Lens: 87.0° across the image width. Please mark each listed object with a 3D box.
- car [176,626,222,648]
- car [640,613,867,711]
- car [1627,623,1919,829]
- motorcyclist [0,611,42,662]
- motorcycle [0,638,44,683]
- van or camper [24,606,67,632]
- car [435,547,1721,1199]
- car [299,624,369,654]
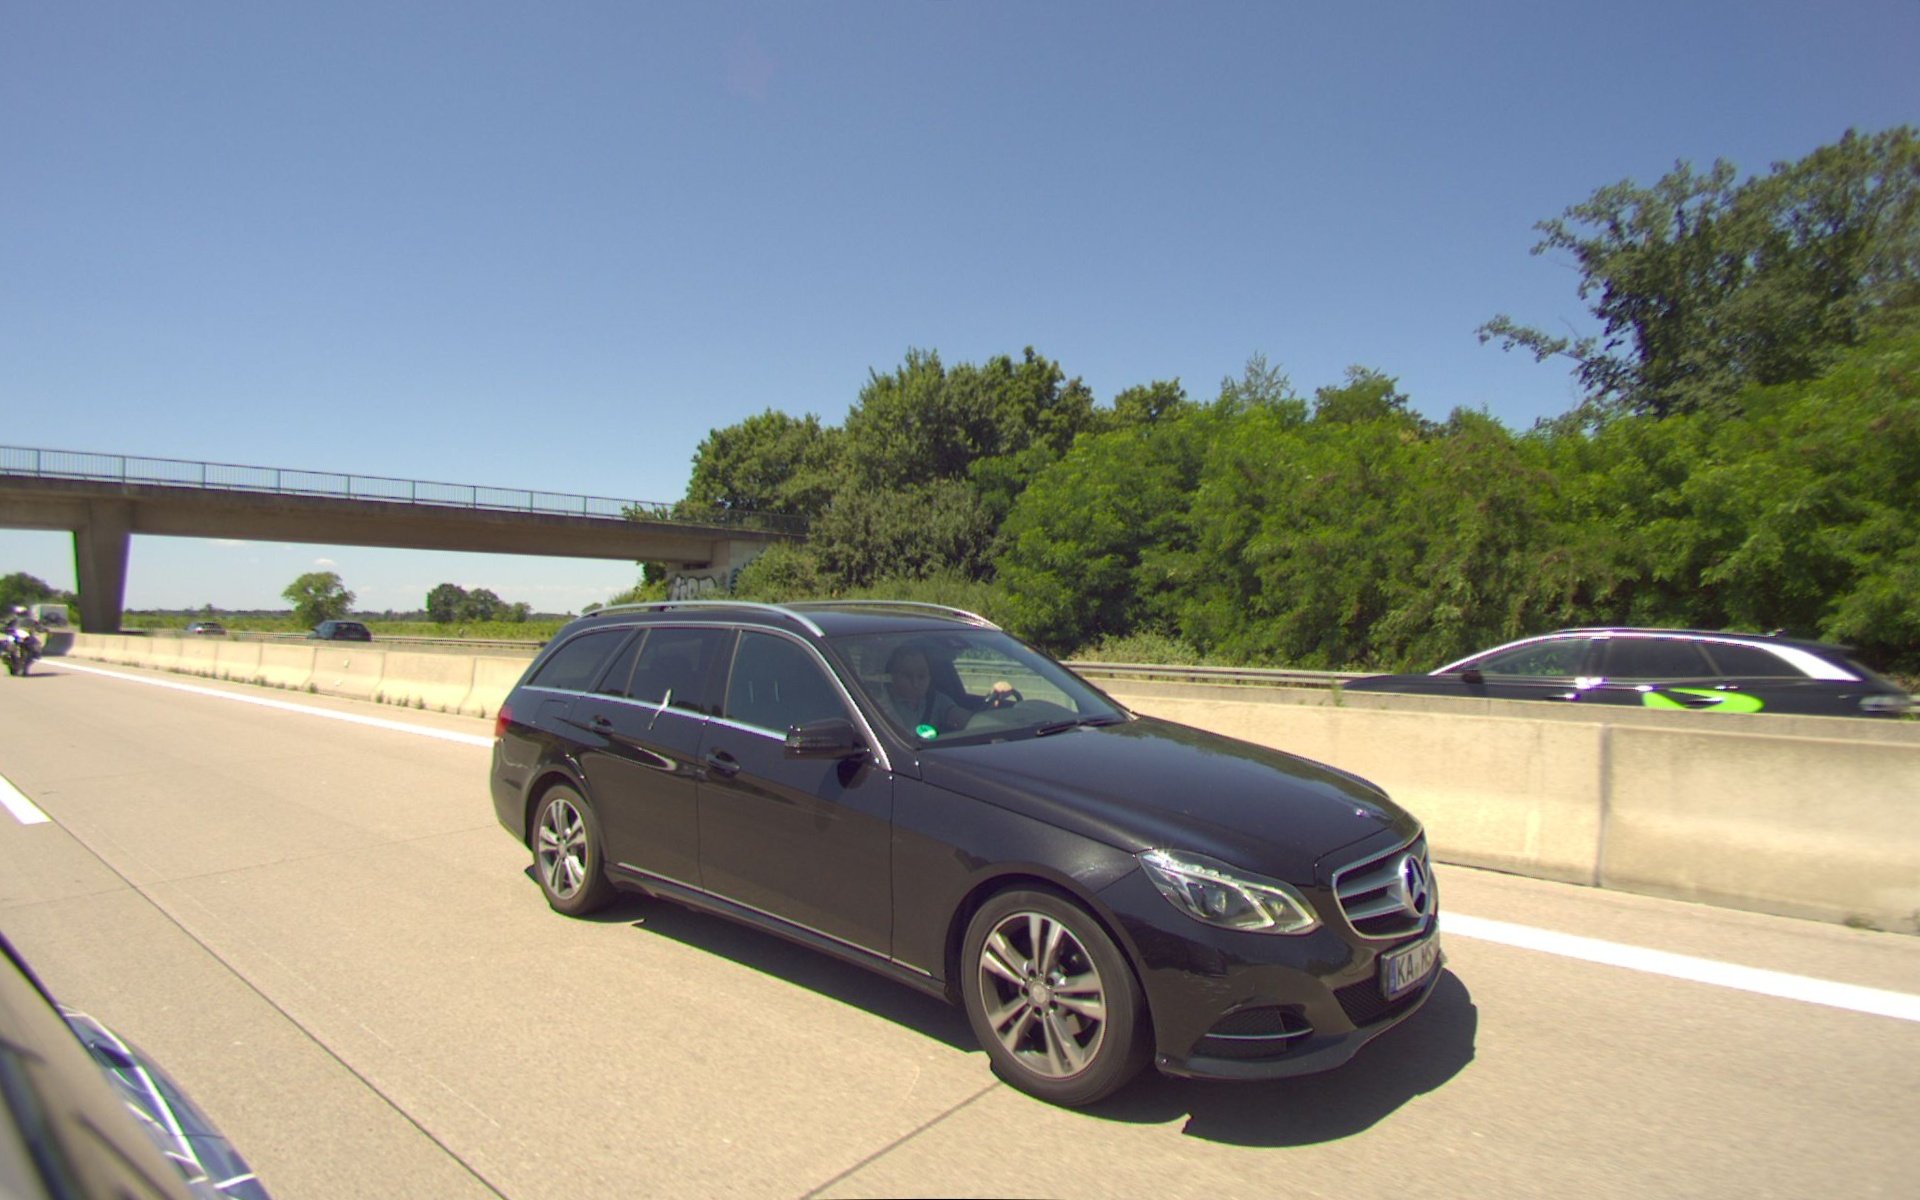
[{"bbox_3d":[-47.464,2.308,63.131,3.630,1.329,1.549,-1,-2,41],"label":"car"},{"bbox_3d":[-4.137,1.136,19.753,4.926,1.690,1.691,-1,-3,41],"label":"car"},{"bbox_3d":[8.416,0.957,8.012,4.992,1.519,2.286,-1,-1,41],"label":"car"},{"bbox_3d":[-23.185,0.894,24.740,0.911,1.218,1.013,-2,-2,43],"label":"motorcyclist"},{"bbox_3d":[-23.261,1.457,24.785,2.413,1.057,1.010,-2,-3,43],"label":"motorcycle"},{"bbox_3d":[-90.964,1.913,100.605,7.797,2.462,2.226,-1,0,41],"label":"van or camper"},{"bbox_3d":[-0.203,0.708,4.495,5.600,1.484,1.871,-1,-2,41],"label":"car"},{"bbox_3d":[-29.208,1.785,47.174,4.369,1.329,1.549,-1,-2,41],"label":"car"}]
